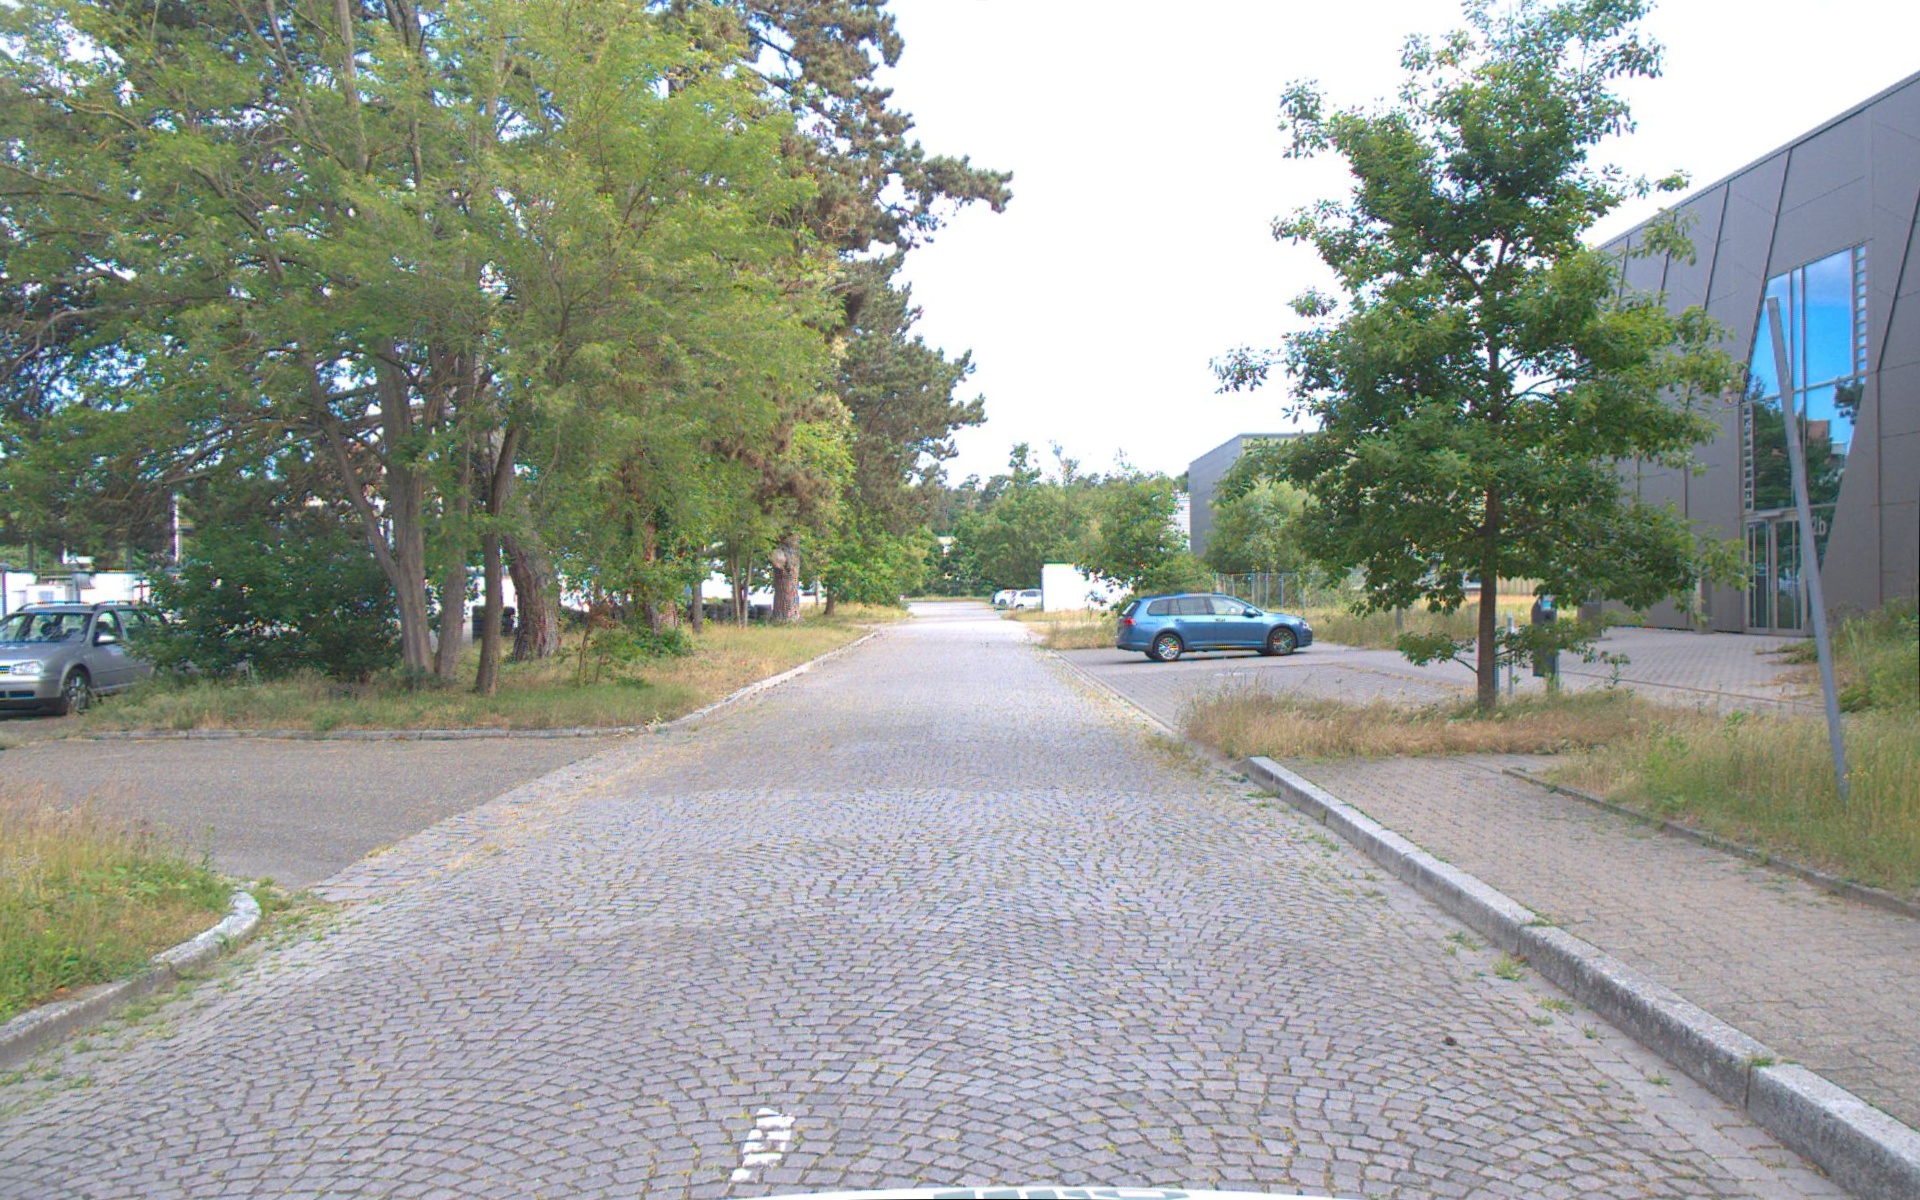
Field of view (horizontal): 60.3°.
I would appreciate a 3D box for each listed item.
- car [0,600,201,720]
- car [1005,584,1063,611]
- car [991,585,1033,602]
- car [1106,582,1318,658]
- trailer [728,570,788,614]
[{"bbox_3d":[-12.383,0.768,23.075,1.681,1.463,4.465,-1,1,-3],"label":"car"},{"bbox_3d":[4.960,-0.180,111.234,3.773,1.683,1.685,-1,0,-3],"label":"car"},{"bbox_3d":[4.981,-0.617,157.384,3.942,1.528,1.548,-1,0,0],"label":"car"},{"bbox_3d":[5.695,0.432,37.692,4.433,1.468,1.822,-3,1,-4],"label":"car"},{"bbox_3d":[-15.024,-0.639,123.750,3.093,3.121,8.786,-1,0,2],"label":"trailer"}]
